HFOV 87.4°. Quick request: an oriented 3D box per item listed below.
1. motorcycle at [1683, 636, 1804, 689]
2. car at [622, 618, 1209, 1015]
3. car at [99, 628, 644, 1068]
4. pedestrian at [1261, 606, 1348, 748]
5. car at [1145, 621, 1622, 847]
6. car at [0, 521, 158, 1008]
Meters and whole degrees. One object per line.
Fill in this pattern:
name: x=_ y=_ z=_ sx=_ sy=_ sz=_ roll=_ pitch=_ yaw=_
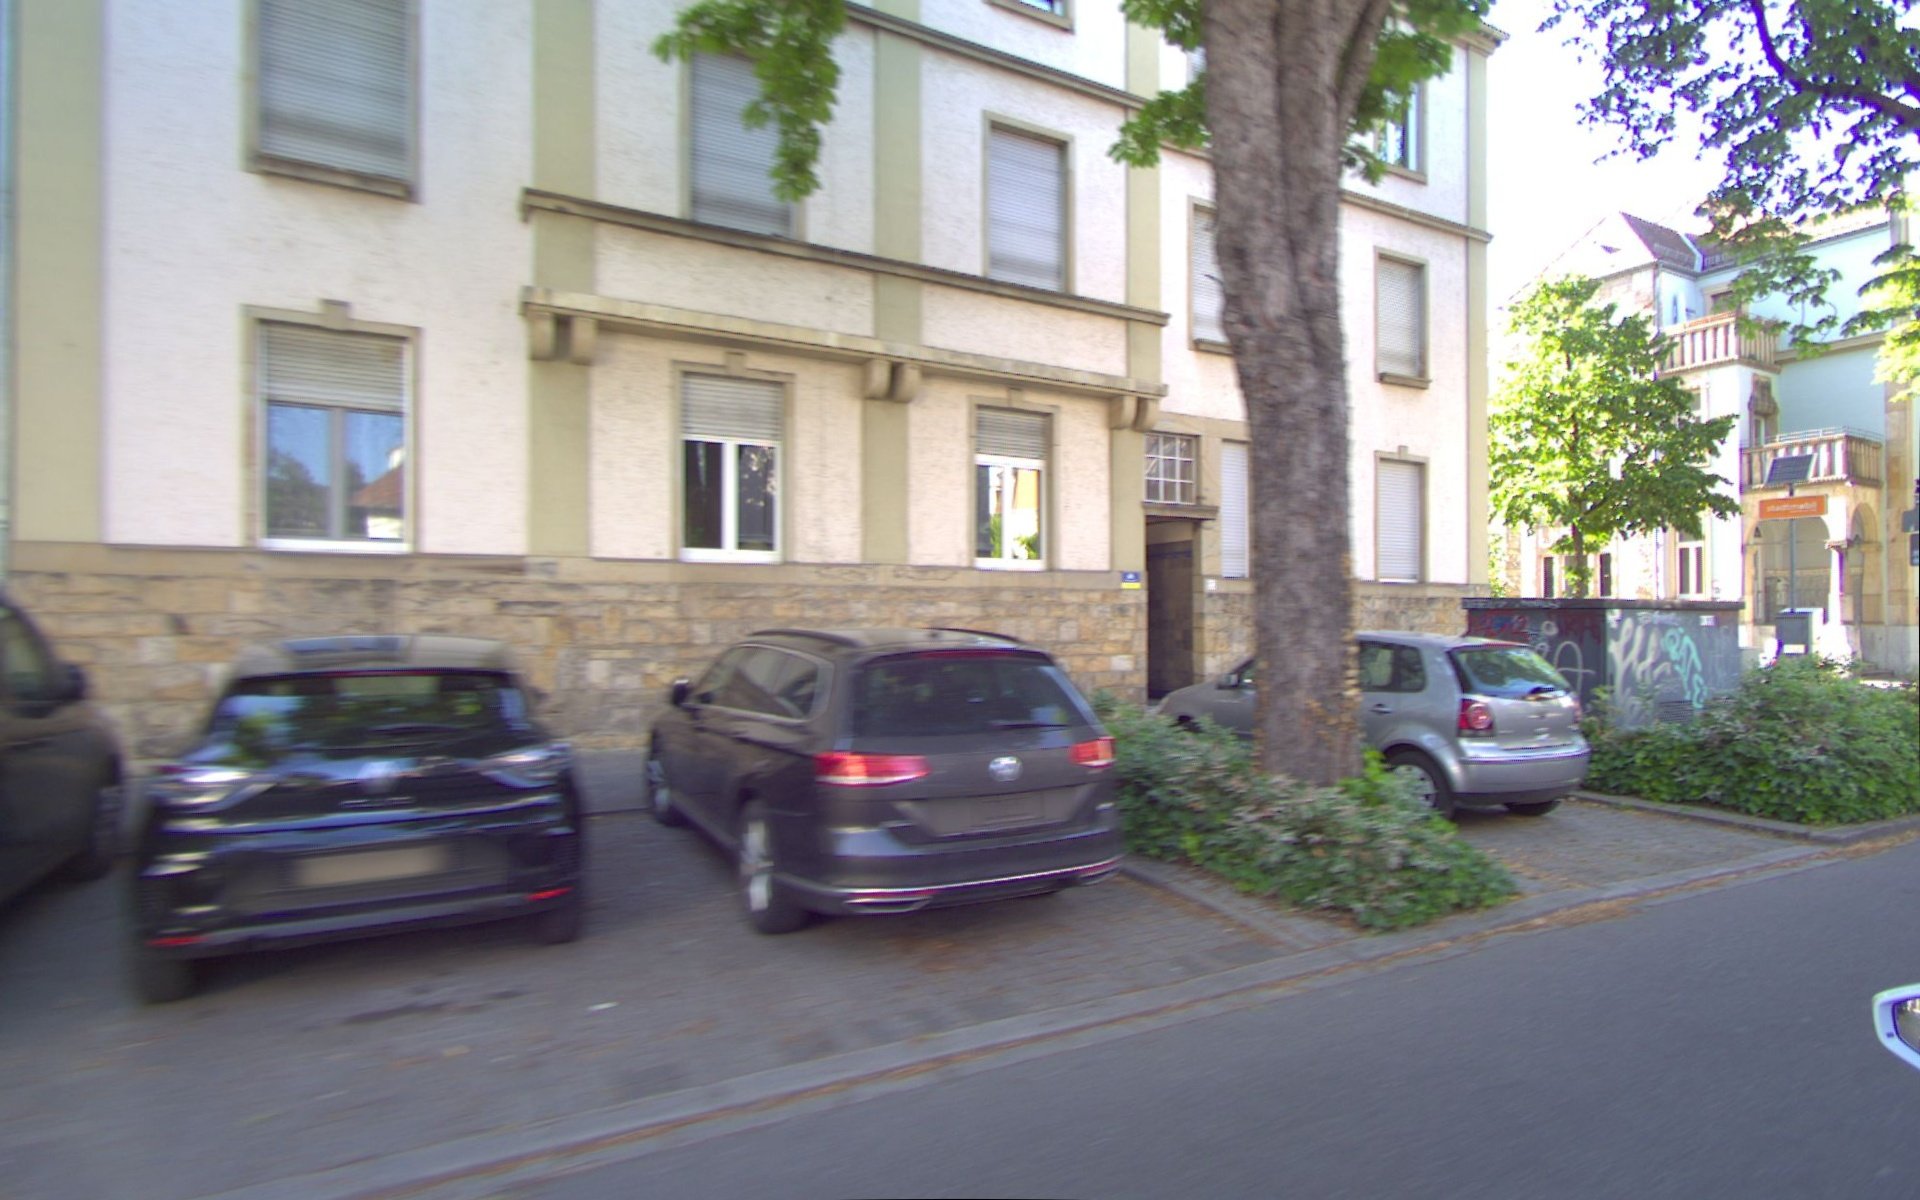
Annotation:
motorcycle: x=19.180 y=1.509 z=24.651 sx=0.885 sy=1.192 sz=2.209 roll=2 pitch=-2 yaw=-20
car: x=-0.713 y=0.893 z=6.354 sx=1.869 sy=1.523 sz=4.511 roll=1 pitch=-1 yaw=-30
car: x=-3.158 y=0.908 z=5.612 sx=1.808 sy=1.456 sz=3.960 roll=1 pitch=-1 yaw=-31
pedestrian: x=4.245 y=0.920 z=12.384 sx=0.822 sy=1.681 sz=0.629 roll=1 pitch=-1 yaw=-29
car: x=3.424 y=0.953 z=8.797 sx=1.621 sy=1.507 sz=3.659 roll=1 pitch=-1 yaw=-29
car: x=-4.914 y=0.636 z=4.196 sx=1.807 sy=1.880 sz=3.961 roll=1 pitch=-1 yaw=-30
